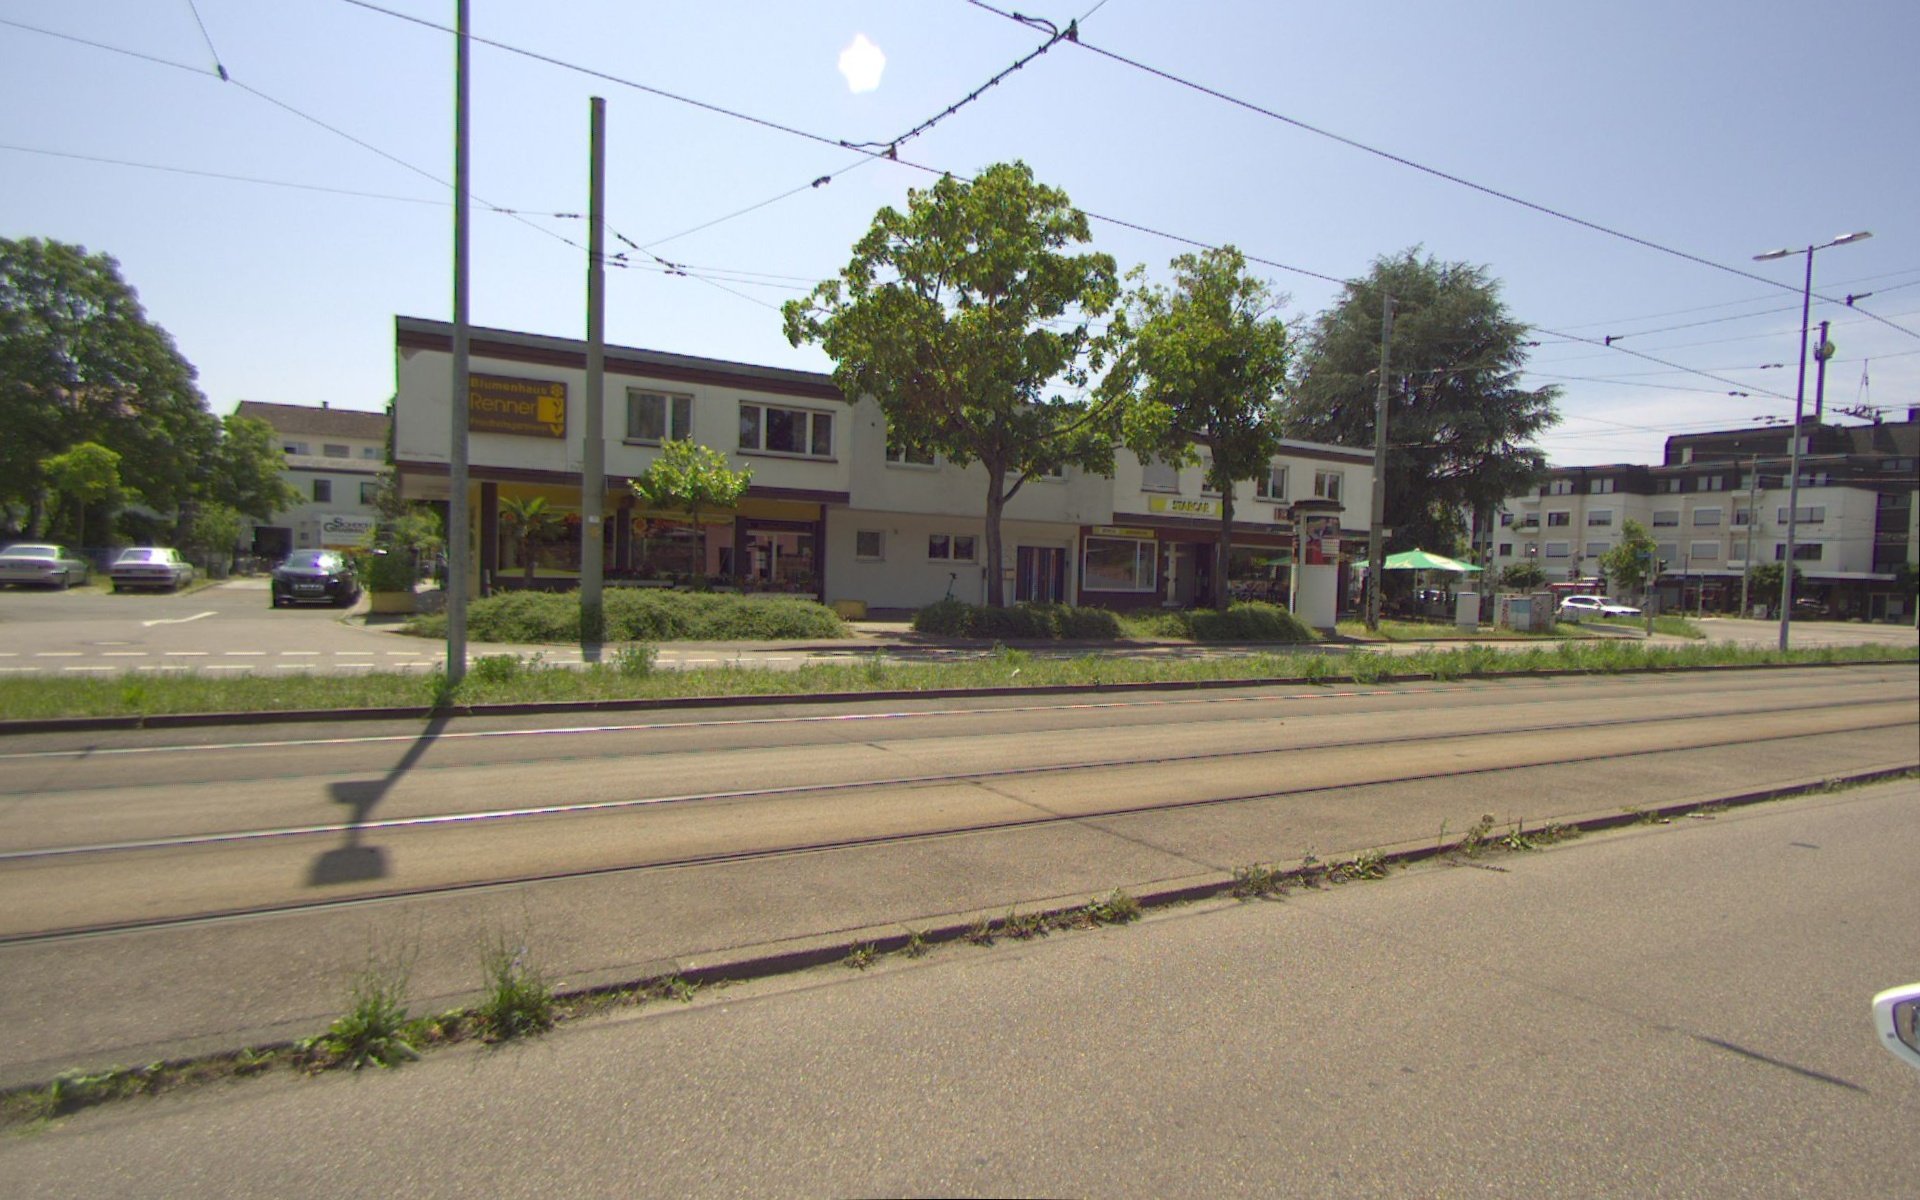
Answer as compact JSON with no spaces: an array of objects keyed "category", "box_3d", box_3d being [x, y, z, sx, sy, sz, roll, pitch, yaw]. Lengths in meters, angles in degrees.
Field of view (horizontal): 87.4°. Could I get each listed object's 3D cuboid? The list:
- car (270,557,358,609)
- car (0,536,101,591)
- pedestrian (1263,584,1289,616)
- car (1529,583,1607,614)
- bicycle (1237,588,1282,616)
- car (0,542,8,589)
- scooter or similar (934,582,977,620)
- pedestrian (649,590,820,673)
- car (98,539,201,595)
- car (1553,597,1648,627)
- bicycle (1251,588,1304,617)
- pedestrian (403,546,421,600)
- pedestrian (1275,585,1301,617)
[{"category":"car","box_3d":[-17.874,-0.503,27.934,1.660,1.314,3.971,0,2,-27]},{"category":"car","box_3d":[-29.034,-1.117,32.038,1.500,1.600,3.972,2,0,-27]},{"category":"pedestrian","box_3d":[13.054,0.011,41.510,0.832,1.285,0.586,2,0,-30]},{"category":"car","box_3d":[50.122,-0.147,82.869,2.219,2.372,5.039,2,0,-30]},{"category":"bicycle","box_3d":[11.272,0.083,37.778,1.738,0.992,0.536,2,0,-30]},{"category":"car","box_3d":[-31.517,-1.132,31.222,1.639,1.540,3.972,2,0,-27]},{"category":"scooter or similar","box_3d":[-0.149,0.044,32.878,1.321,1.207,0.455,2,0,-10]},{"category":"pedestrian","box_3d":[-5.937,0.821,26.500,3.953,2.040,1.984,2,0,-30]},{"category":"car","box_3d":[-26.583,-1.043,33.089,1.780,1.678,3.972,2,0,-27]},{"category":"car","box_3d":[36.804,0.659,57.877,1.702,1.631,4.552,2,0,-18]},{"category":"bicycle","box_3d":[11.515,0.089,36.413,2.005,0.992,0.607,2,0,-30]},{"category":"pedestrian","box_3d":[-18.849,-0.910,34.547,0.466,1.823,0.484,2,0,-30]},{"category":"pedestrian","box_3d":[13.356,0.032,40.902,0.832,1.285,0.586,2,0,-30]}]
